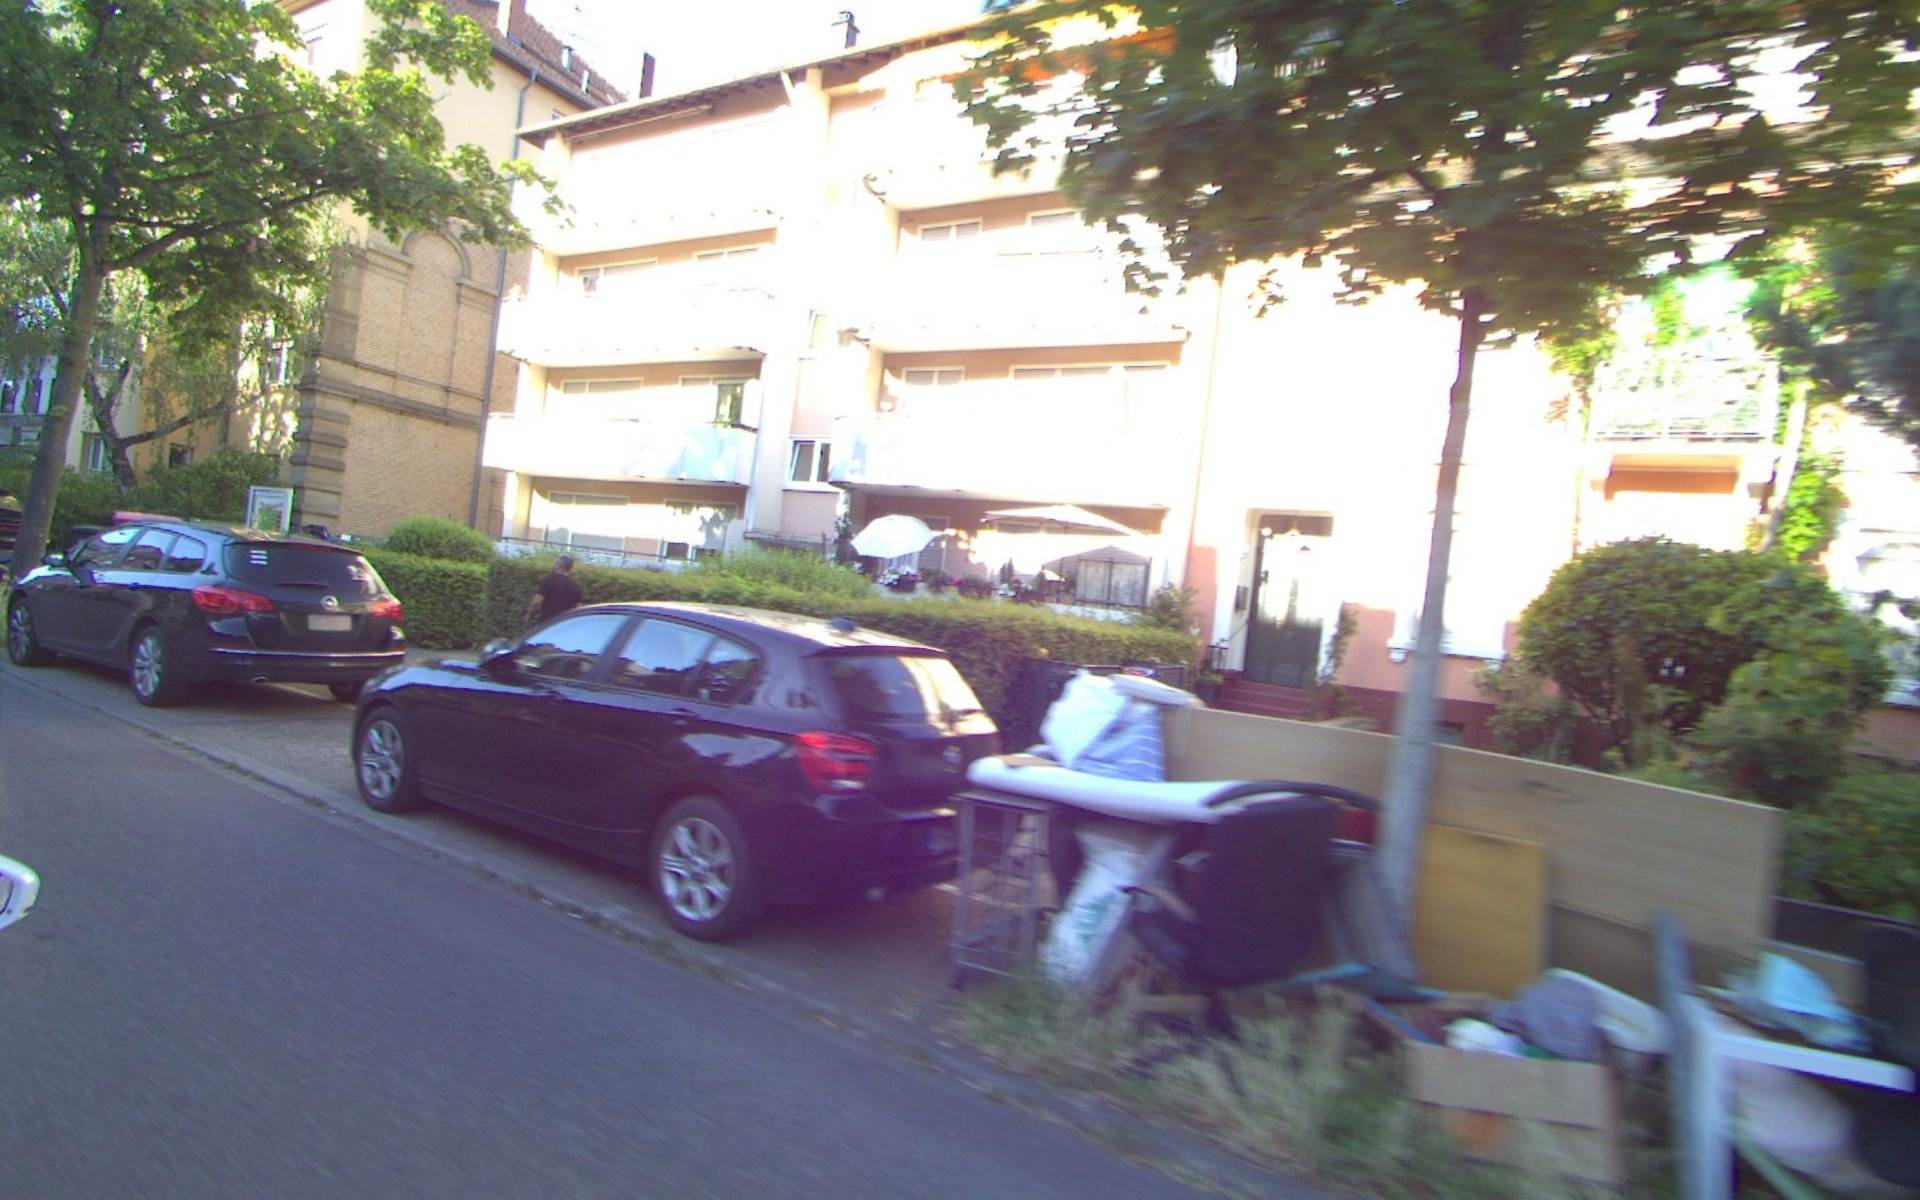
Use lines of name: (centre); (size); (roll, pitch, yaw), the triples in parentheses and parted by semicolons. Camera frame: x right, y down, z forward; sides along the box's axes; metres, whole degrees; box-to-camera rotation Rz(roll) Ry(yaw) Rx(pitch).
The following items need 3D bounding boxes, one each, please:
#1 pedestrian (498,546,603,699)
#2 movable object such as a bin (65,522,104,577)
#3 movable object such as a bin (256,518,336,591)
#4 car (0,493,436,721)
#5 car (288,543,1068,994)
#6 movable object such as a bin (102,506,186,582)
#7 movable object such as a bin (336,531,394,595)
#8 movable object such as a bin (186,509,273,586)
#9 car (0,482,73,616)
pedestrian: (-4.628, 0.267, 11.390); (0.570, 1.636, 0.747); (7, 0, 30)
movable object such as a bin: (-18.319, -1.053, 21.053); (0.541, 1.072, 0.493); (7, 1, 44)
movable object such as a bin: (-16.102, -1.095, 24.414); (0.976, 1.575, 1.158); (7, 0, 22)
car: (-7.044, -0.009, 9.335); (4.356, 1.491, 1.719); (7, 0, 30)
car: (-1.811, 0.656, 5.867); (4.410, 1.467, 1.772); (7, 0, 32)
movable object such as a bin: (-17.832, -1.219, 21.976); (1.249, 1.459, 0.982); (7, 0, -44)
movable object such as a bin: (-15.171, -0.944, 25.679); (1.130, 1.459, 0.987); (7, 0, -30)
movable object such as a bin: (-16.949, -1.201, 23.362); (0.976, 1.575, 1.158); (7, 0, 22)
car: (-14.467, -0.932, 13.868); (4.716, 1.675, 1.951); (7, 0, 31)
